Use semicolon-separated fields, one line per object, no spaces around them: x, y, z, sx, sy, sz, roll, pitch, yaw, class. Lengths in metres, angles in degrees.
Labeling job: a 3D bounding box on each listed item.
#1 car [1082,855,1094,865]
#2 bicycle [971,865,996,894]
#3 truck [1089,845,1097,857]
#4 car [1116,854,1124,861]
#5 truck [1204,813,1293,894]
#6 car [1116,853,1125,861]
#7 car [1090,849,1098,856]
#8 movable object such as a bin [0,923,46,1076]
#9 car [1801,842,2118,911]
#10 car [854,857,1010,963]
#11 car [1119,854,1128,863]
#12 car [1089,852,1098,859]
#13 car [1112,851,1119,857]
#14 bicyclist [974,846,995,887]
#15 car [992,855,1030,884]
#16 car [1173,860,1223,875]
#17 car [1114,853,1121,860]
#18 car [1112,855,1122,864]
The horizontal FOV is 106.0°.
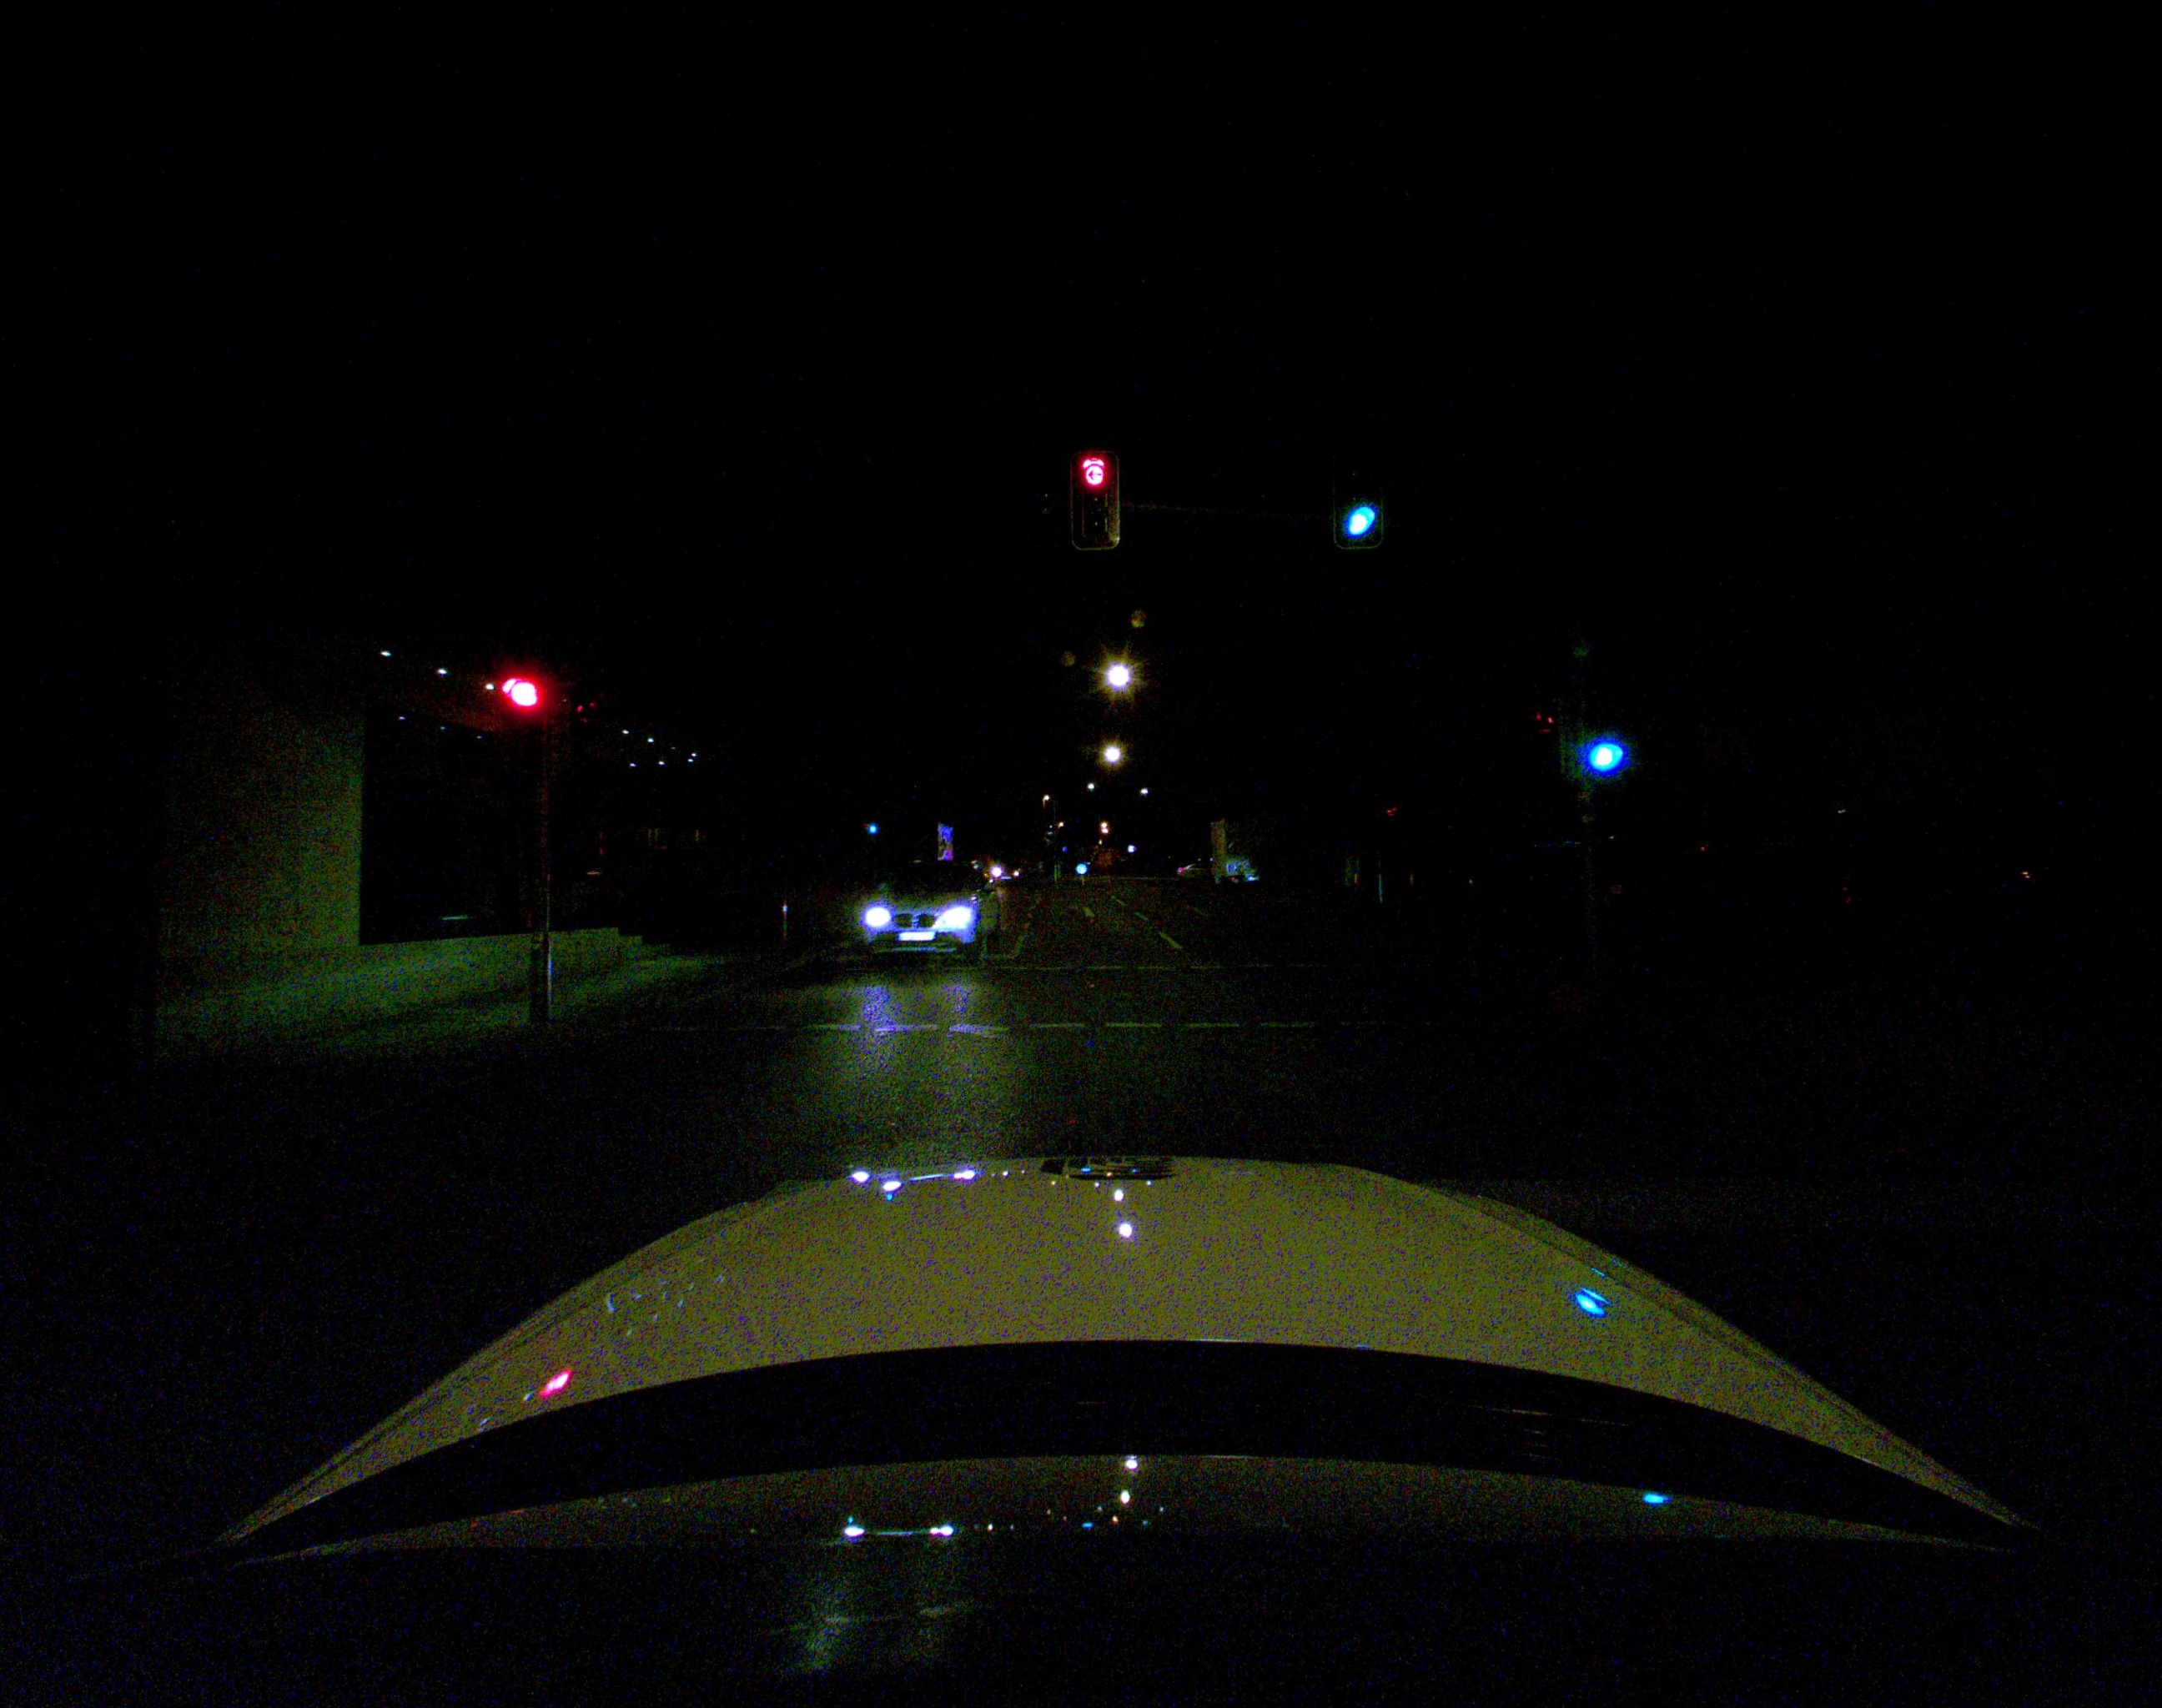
1.195;0.995;134.630;1.808;1.684;4.002;0;0;2;car
-3.915;1.006;32.866;0.693;1.149;1.951;-1;-1;2;bicycle
3.138;-0.734;209.810;2.079;2.848;5.831;0;0;0;truck
7.606;0.694;159.331;1.628;1.452;3.486;0;0;2;car
6.941;-0.019;34.539;2.738;3.110;6.262;0;0;2;truck
7.470;0.633;153.146;1.628;1.452;3.486;0;0;2;car
2.996;-0.345;187.158;1.809;1.491;4.000;0;0;0;car
-7.925;1.035;5.705;0.633;1.049;0.657;-1;-1;19;movable object such as a bin
17.323;0.449;16.274;4.107;1.280;1.770;-1;-1;9;car
-2.364;0.825;13.949;1.851;1.534;4.028;0;0;1;car
7.485;0.810;143.401;1.628;1.452;3.486;0;0;2;car
2.431;0.299;160.755;1.809;1.491;4.000;0;0;0;car
8.182;-0.029;191.560;1.628;1.452;3.486;0;0;2;car
-3.923;0.499;33.065;0.688;1.637;0.896;-1;-1;1;bicyclist
-3.746;0.822;44.047;1.575;1.501;3.399;-1;0;4;car
11.114;1.312;77.654;4.549;1.388;1.924;0;0;2;car
7.976;0.509;178.579;1.628;1.452;3.486;0;0;2;car
6.108;0.981;137.894;1.587;1.476;3.655;0;0;2;car
